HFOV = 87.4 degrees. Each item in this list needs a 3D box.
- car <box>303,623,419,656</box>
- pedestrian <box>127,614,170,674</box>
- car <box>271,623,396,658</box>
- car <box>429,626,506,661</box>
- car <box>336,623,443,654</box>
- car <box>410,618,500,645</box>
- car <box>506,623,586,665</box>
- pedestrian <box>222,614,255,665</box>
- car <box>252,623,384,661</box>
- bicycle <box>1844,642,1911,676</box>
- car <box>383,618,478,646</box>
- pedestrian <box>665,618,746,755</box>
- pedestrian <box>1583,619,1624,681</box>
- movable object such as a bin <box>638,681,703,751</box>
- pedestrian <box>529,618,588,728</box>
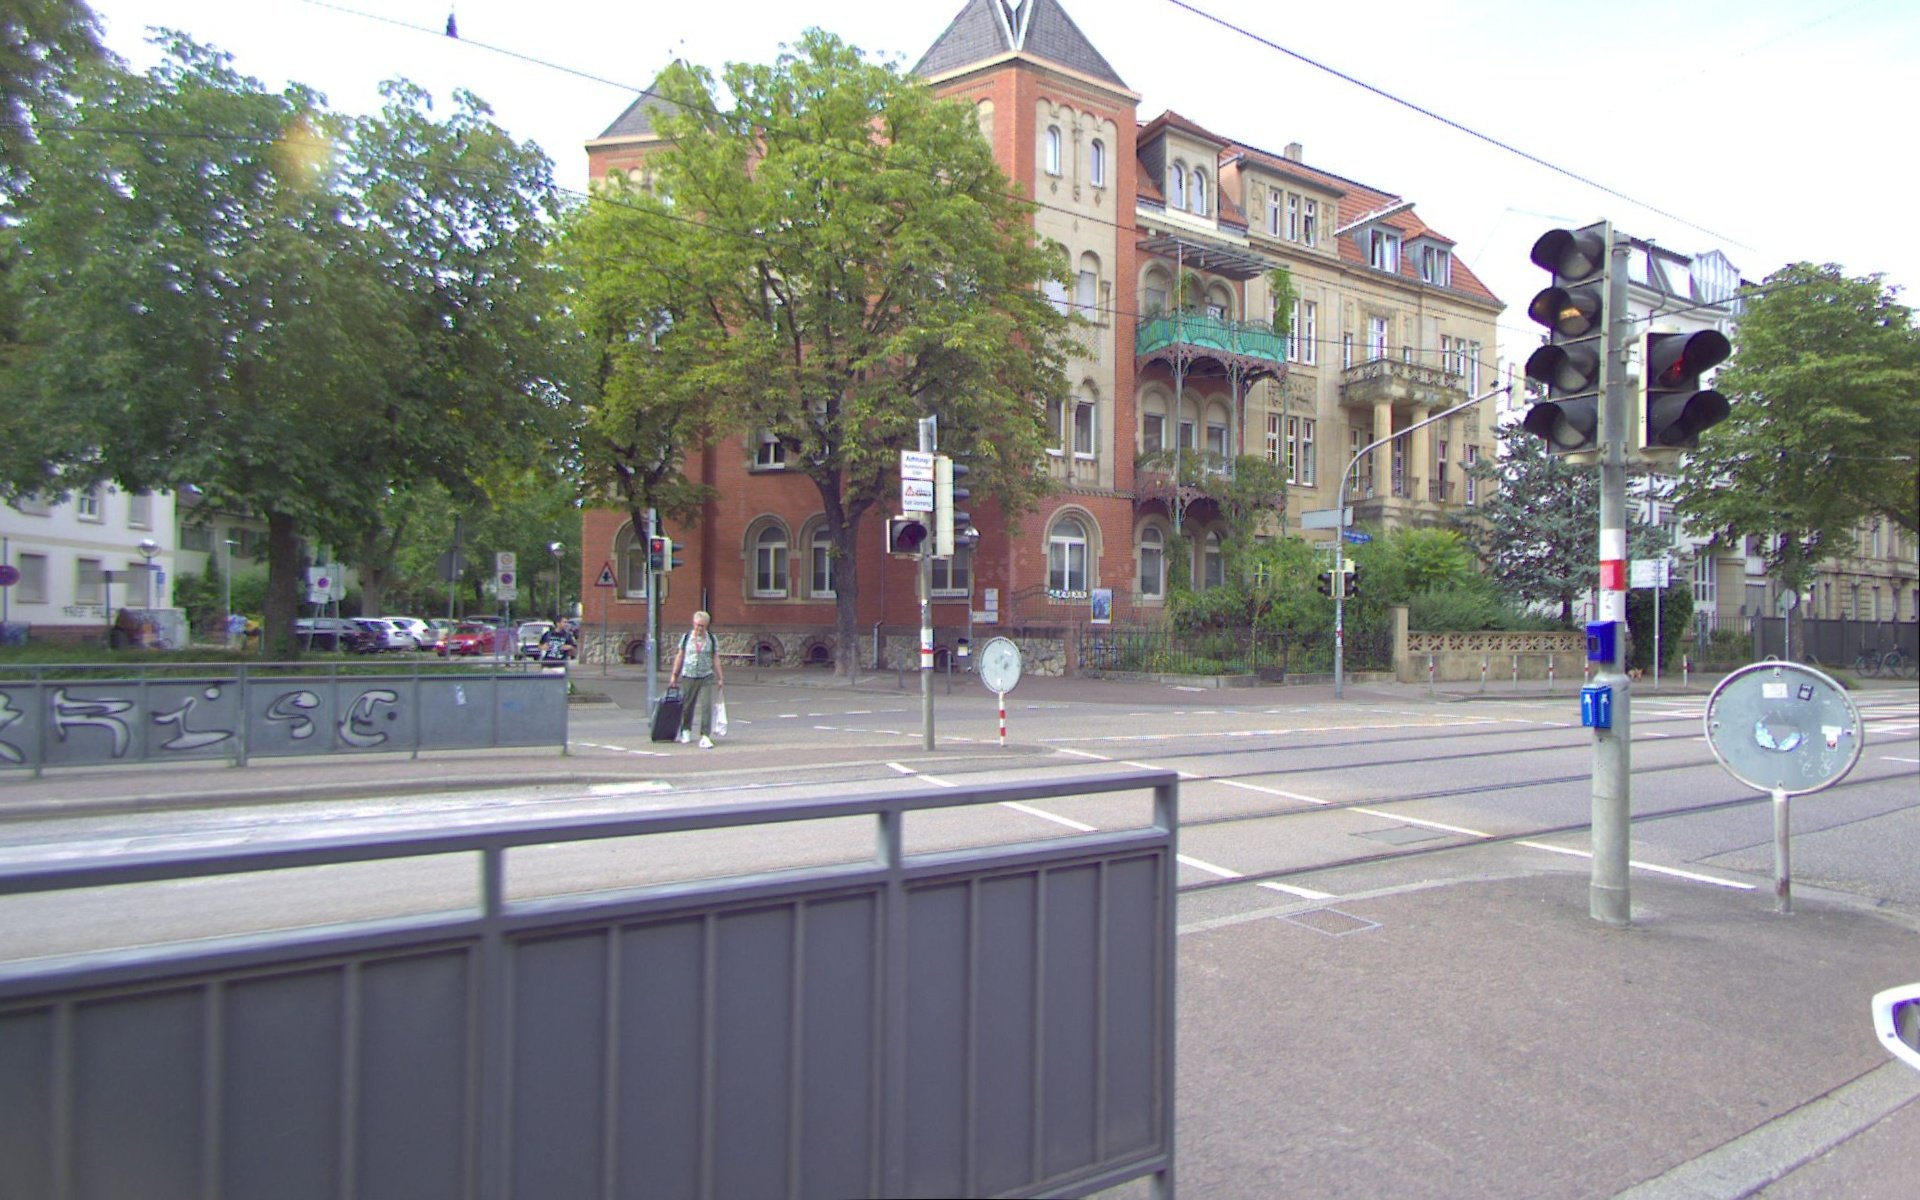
[{"bbox_3d":[-26.214,1.717,44.055,3.926,1.414,1.814,1,-1,-7],"label":"car"},{"bbox_3d":[-24.554,1.329,30.398,0.720,1.777,0.752,0,-1,-11],"label":"pedestrian"},{"bbox_3d":[-25.832,1.658,41.529,3.926,1.414,1.814,1,-1,-7],"label":"car"},{"bbox_3d":[-21.651,1.893,44.333,1.781,1.497,3.997,1,-2,-6],"label":"car"},{"bbox_3d":[-26.482,1.796,46.736,3.926,1.414,1.814,1,-1,-7],"label":"car"},{"bbox_3d":[-27.397,1.714,54.589,3.926,1.414,1.814,1,-1,-7],"label":"car"},{"bbox_3d":[-15.826,1.658,38.633,1.781,1.497,3.997,1,-2,-6],"label":"car"},{"bbox_3d":[-25.503,1.396,35.506,0.671,1.777,0.732,0,-1,-8],"label":"pedestrian"},{"bbox_3d":[-25.024,1.631,39.267,3.926,1.414,1.814,1,-1,-7],"label":"car"},{"bbox_3d":[32.264,2.063,35.341,1.639,1.134,0.573,-1,-1,22],"label":"bicycle"},{"bbox_3d":[-27.328,1.668,51.924,3.926,1.414,1.814,1,-1,-7],"label":"car"},{"bbox_3d":[-3.236,1.060,12.740,0.737,1.654,0.863,1,-1,-34],"label":"pedestrian"},{"bbox_3d":[19.296,1.488,30.127,0.825,1.807,0.727,1,-1,-29],"label":"pedestrian"},{"bbox_3d":[-3.732,1.476,12.939,0.615,0.810,0.724,1,-2,-34],"label":"movable object such as a bin"},{"bbox_3d":[-6.542,1.159,16.356,0.725,1.725,0.827,1,-1,-34],"label":"pedestrian"}]
